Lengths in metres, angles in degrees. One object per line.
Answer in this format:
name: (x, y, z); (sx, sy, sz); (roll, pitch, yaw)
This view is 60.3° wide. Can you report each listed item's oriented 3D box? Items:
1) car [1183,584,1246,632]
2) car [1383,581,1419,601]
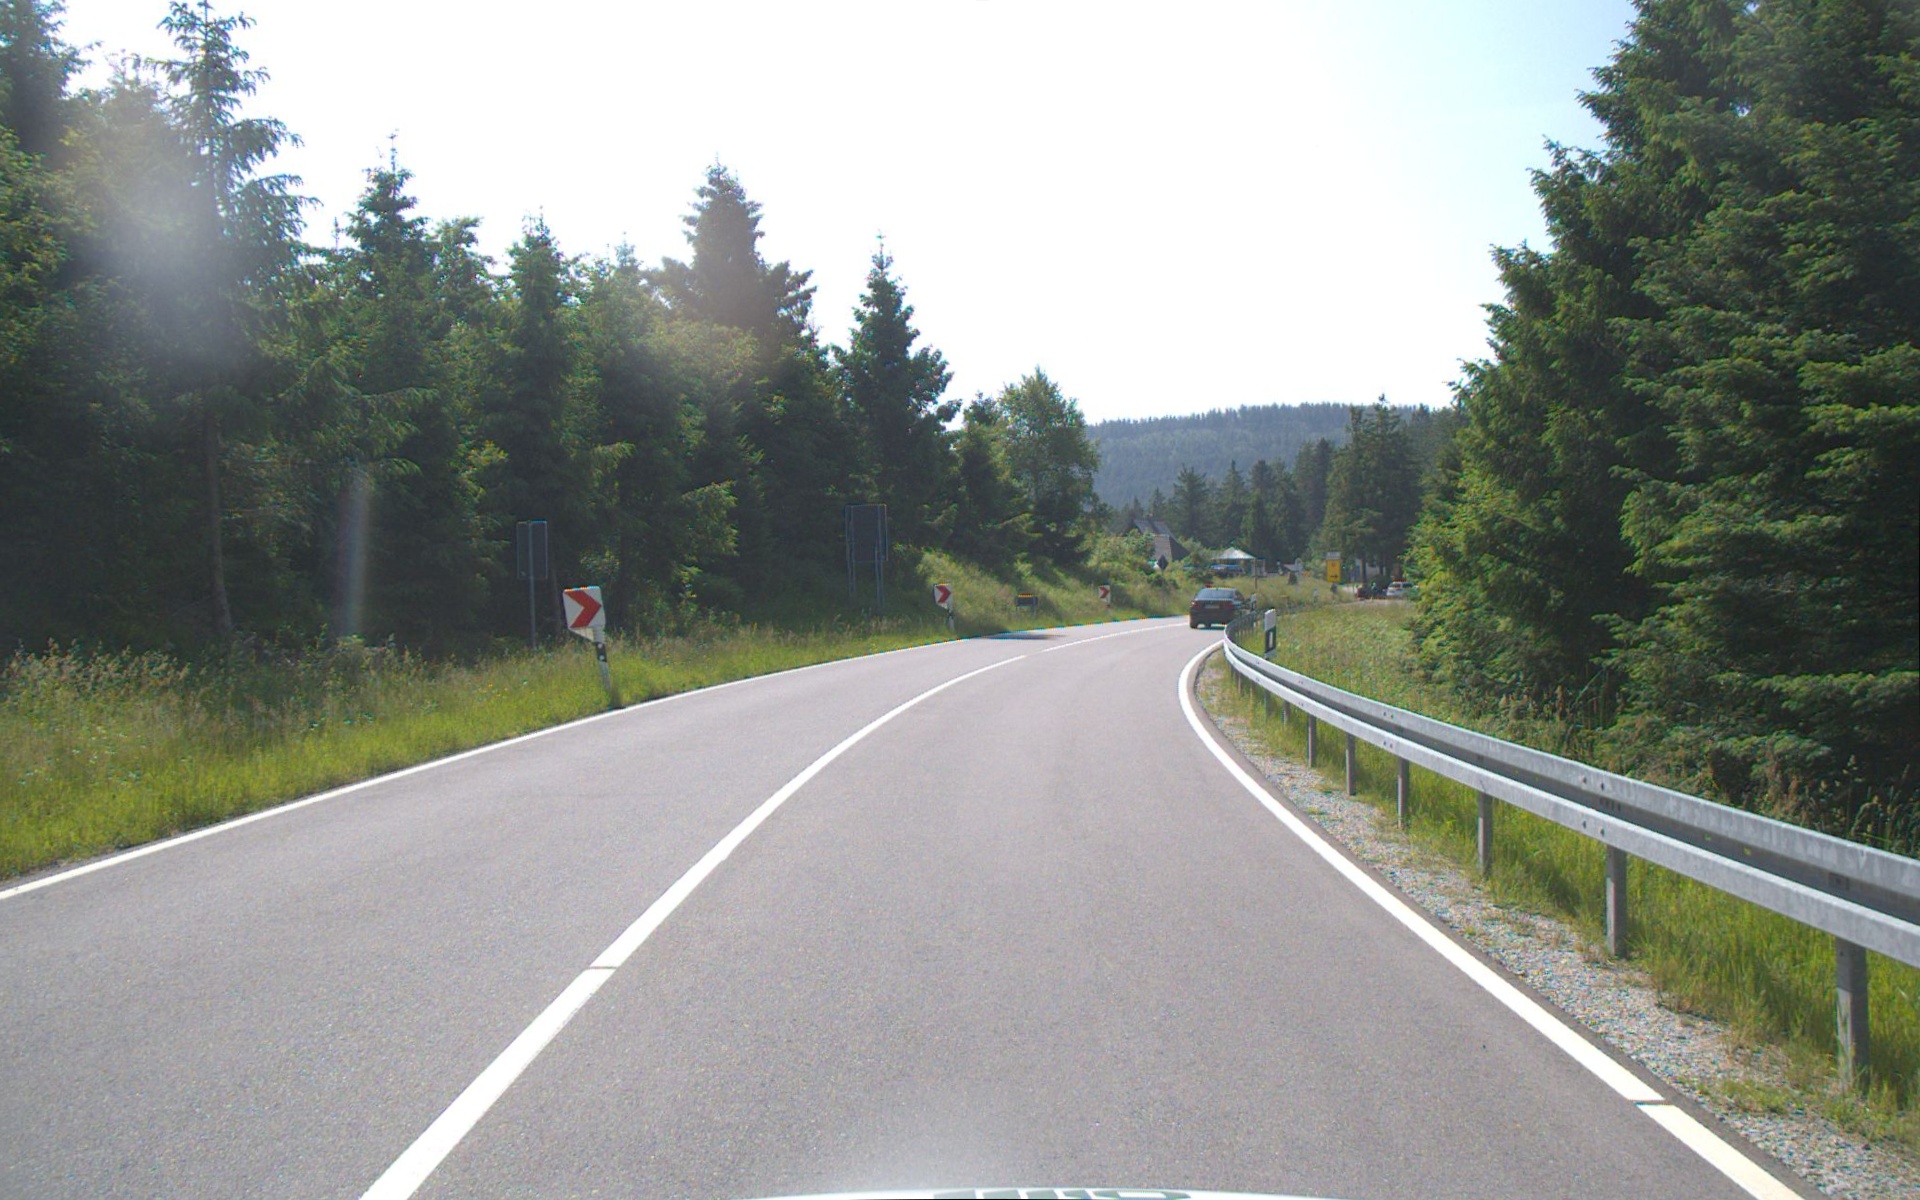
car: (9.097, 0.262, 58.863); (1.739, 1.466, 3.712); (4, 3, 15)
car: (40.729, -0.857, 152.816); (1.822, 1.700, 4.370); (-1, 0, 35)
